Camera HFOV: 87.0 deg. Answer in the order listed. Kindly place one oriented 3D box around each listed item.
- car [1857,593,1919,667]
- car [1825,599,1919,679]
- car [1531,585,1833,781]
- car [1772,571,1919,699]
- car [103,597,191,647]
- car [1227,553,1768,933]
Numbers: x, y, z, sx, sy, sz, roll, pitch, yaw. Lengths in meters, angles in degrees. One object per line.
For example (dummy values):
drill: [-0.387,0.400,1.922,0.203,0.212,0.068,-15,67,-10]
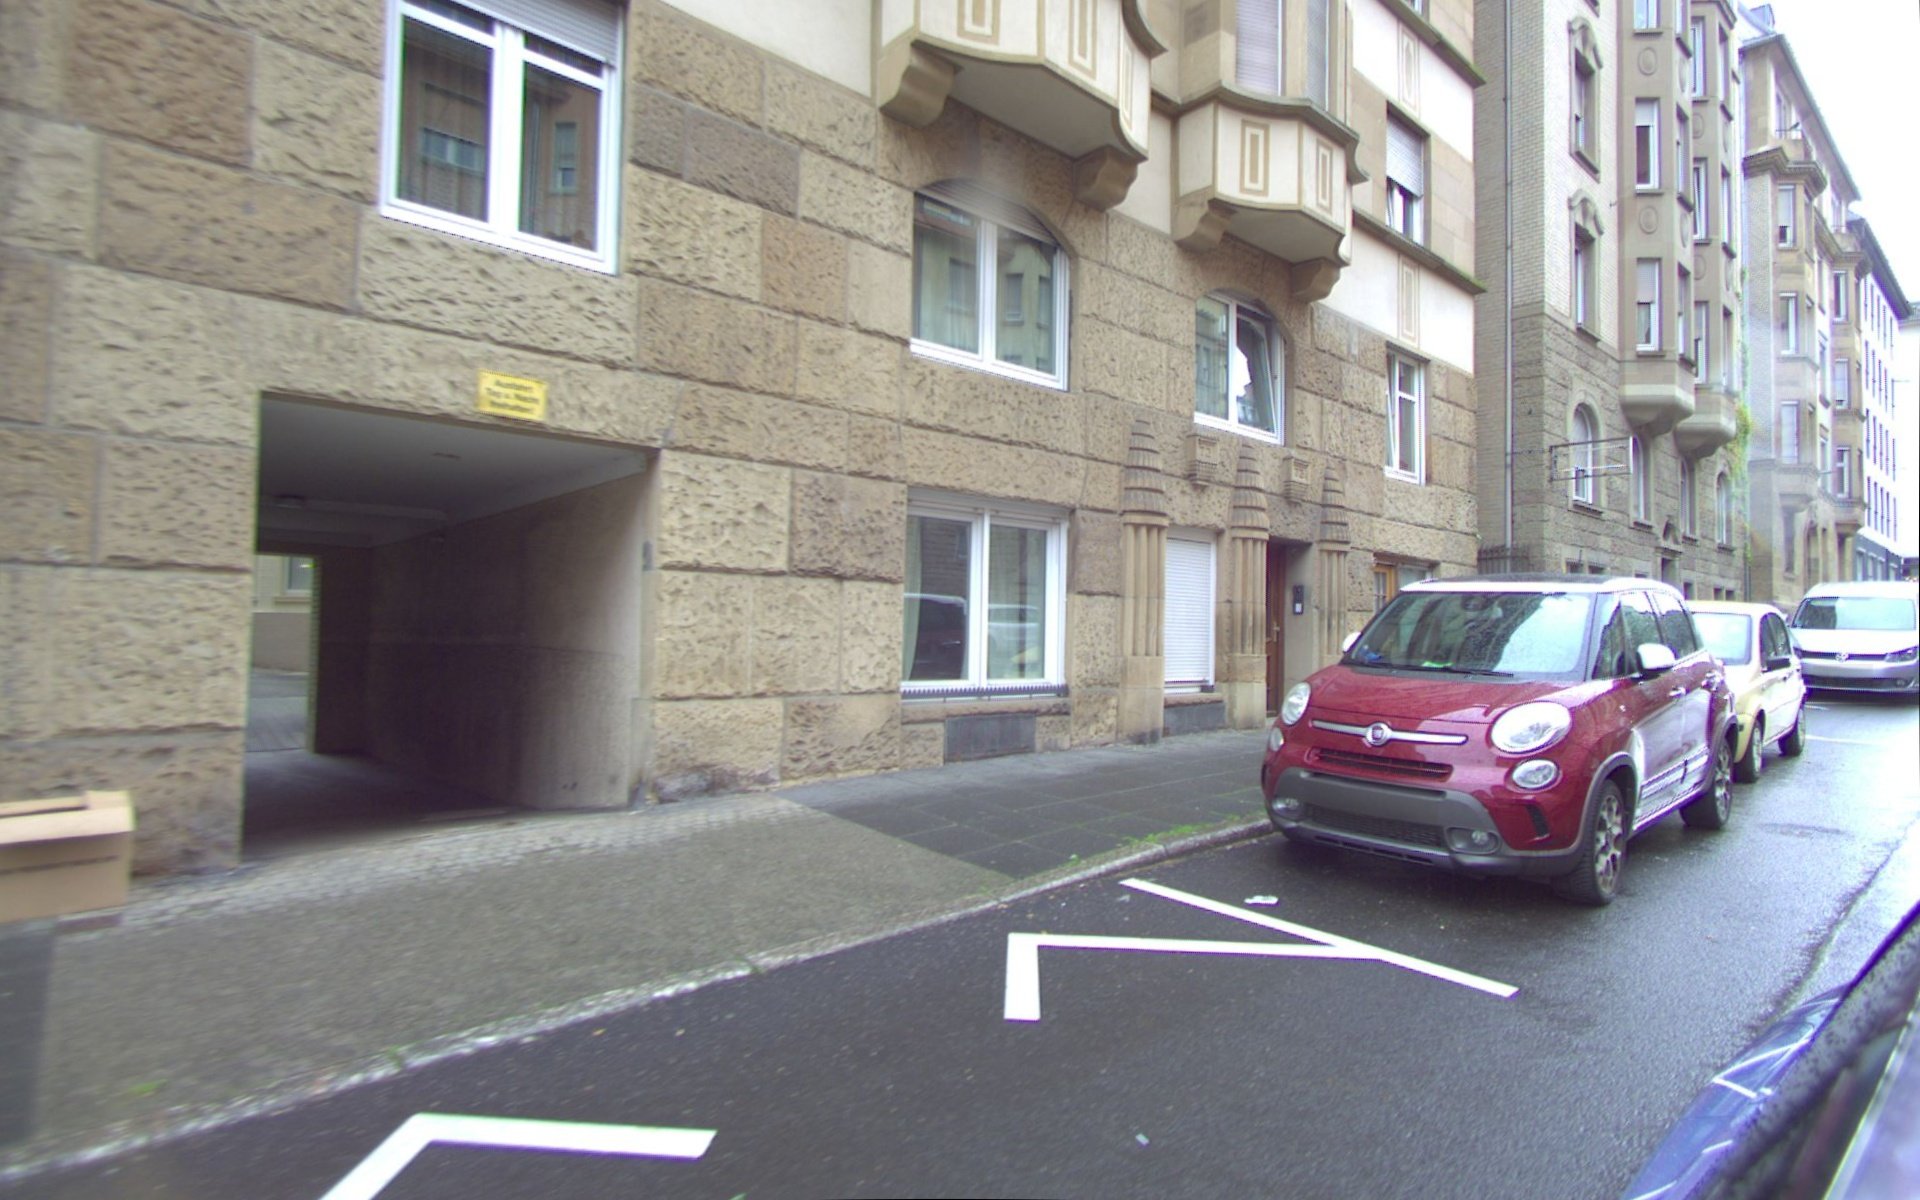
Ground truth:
car: [21.484,0.627,22.386,3.987,1.544,1.933,0,-1,-41]
car: [18.143,0.678,19.299,3.912,1.406,1.929,0,-1,-41]
car: [6.973,0.654,9.664,3.471,1.530,1.630,0,-1,-42]
car: [14.435,0.484,16.014,3.893,1.791,1.809,0,0,-41]
car: [-24.284,0.595,30.173,1.765,1.363,4.008,-1,1,-43]
car: [3.529,0.590,6.310,3.932,1.621,1.772,0,1,-42]
